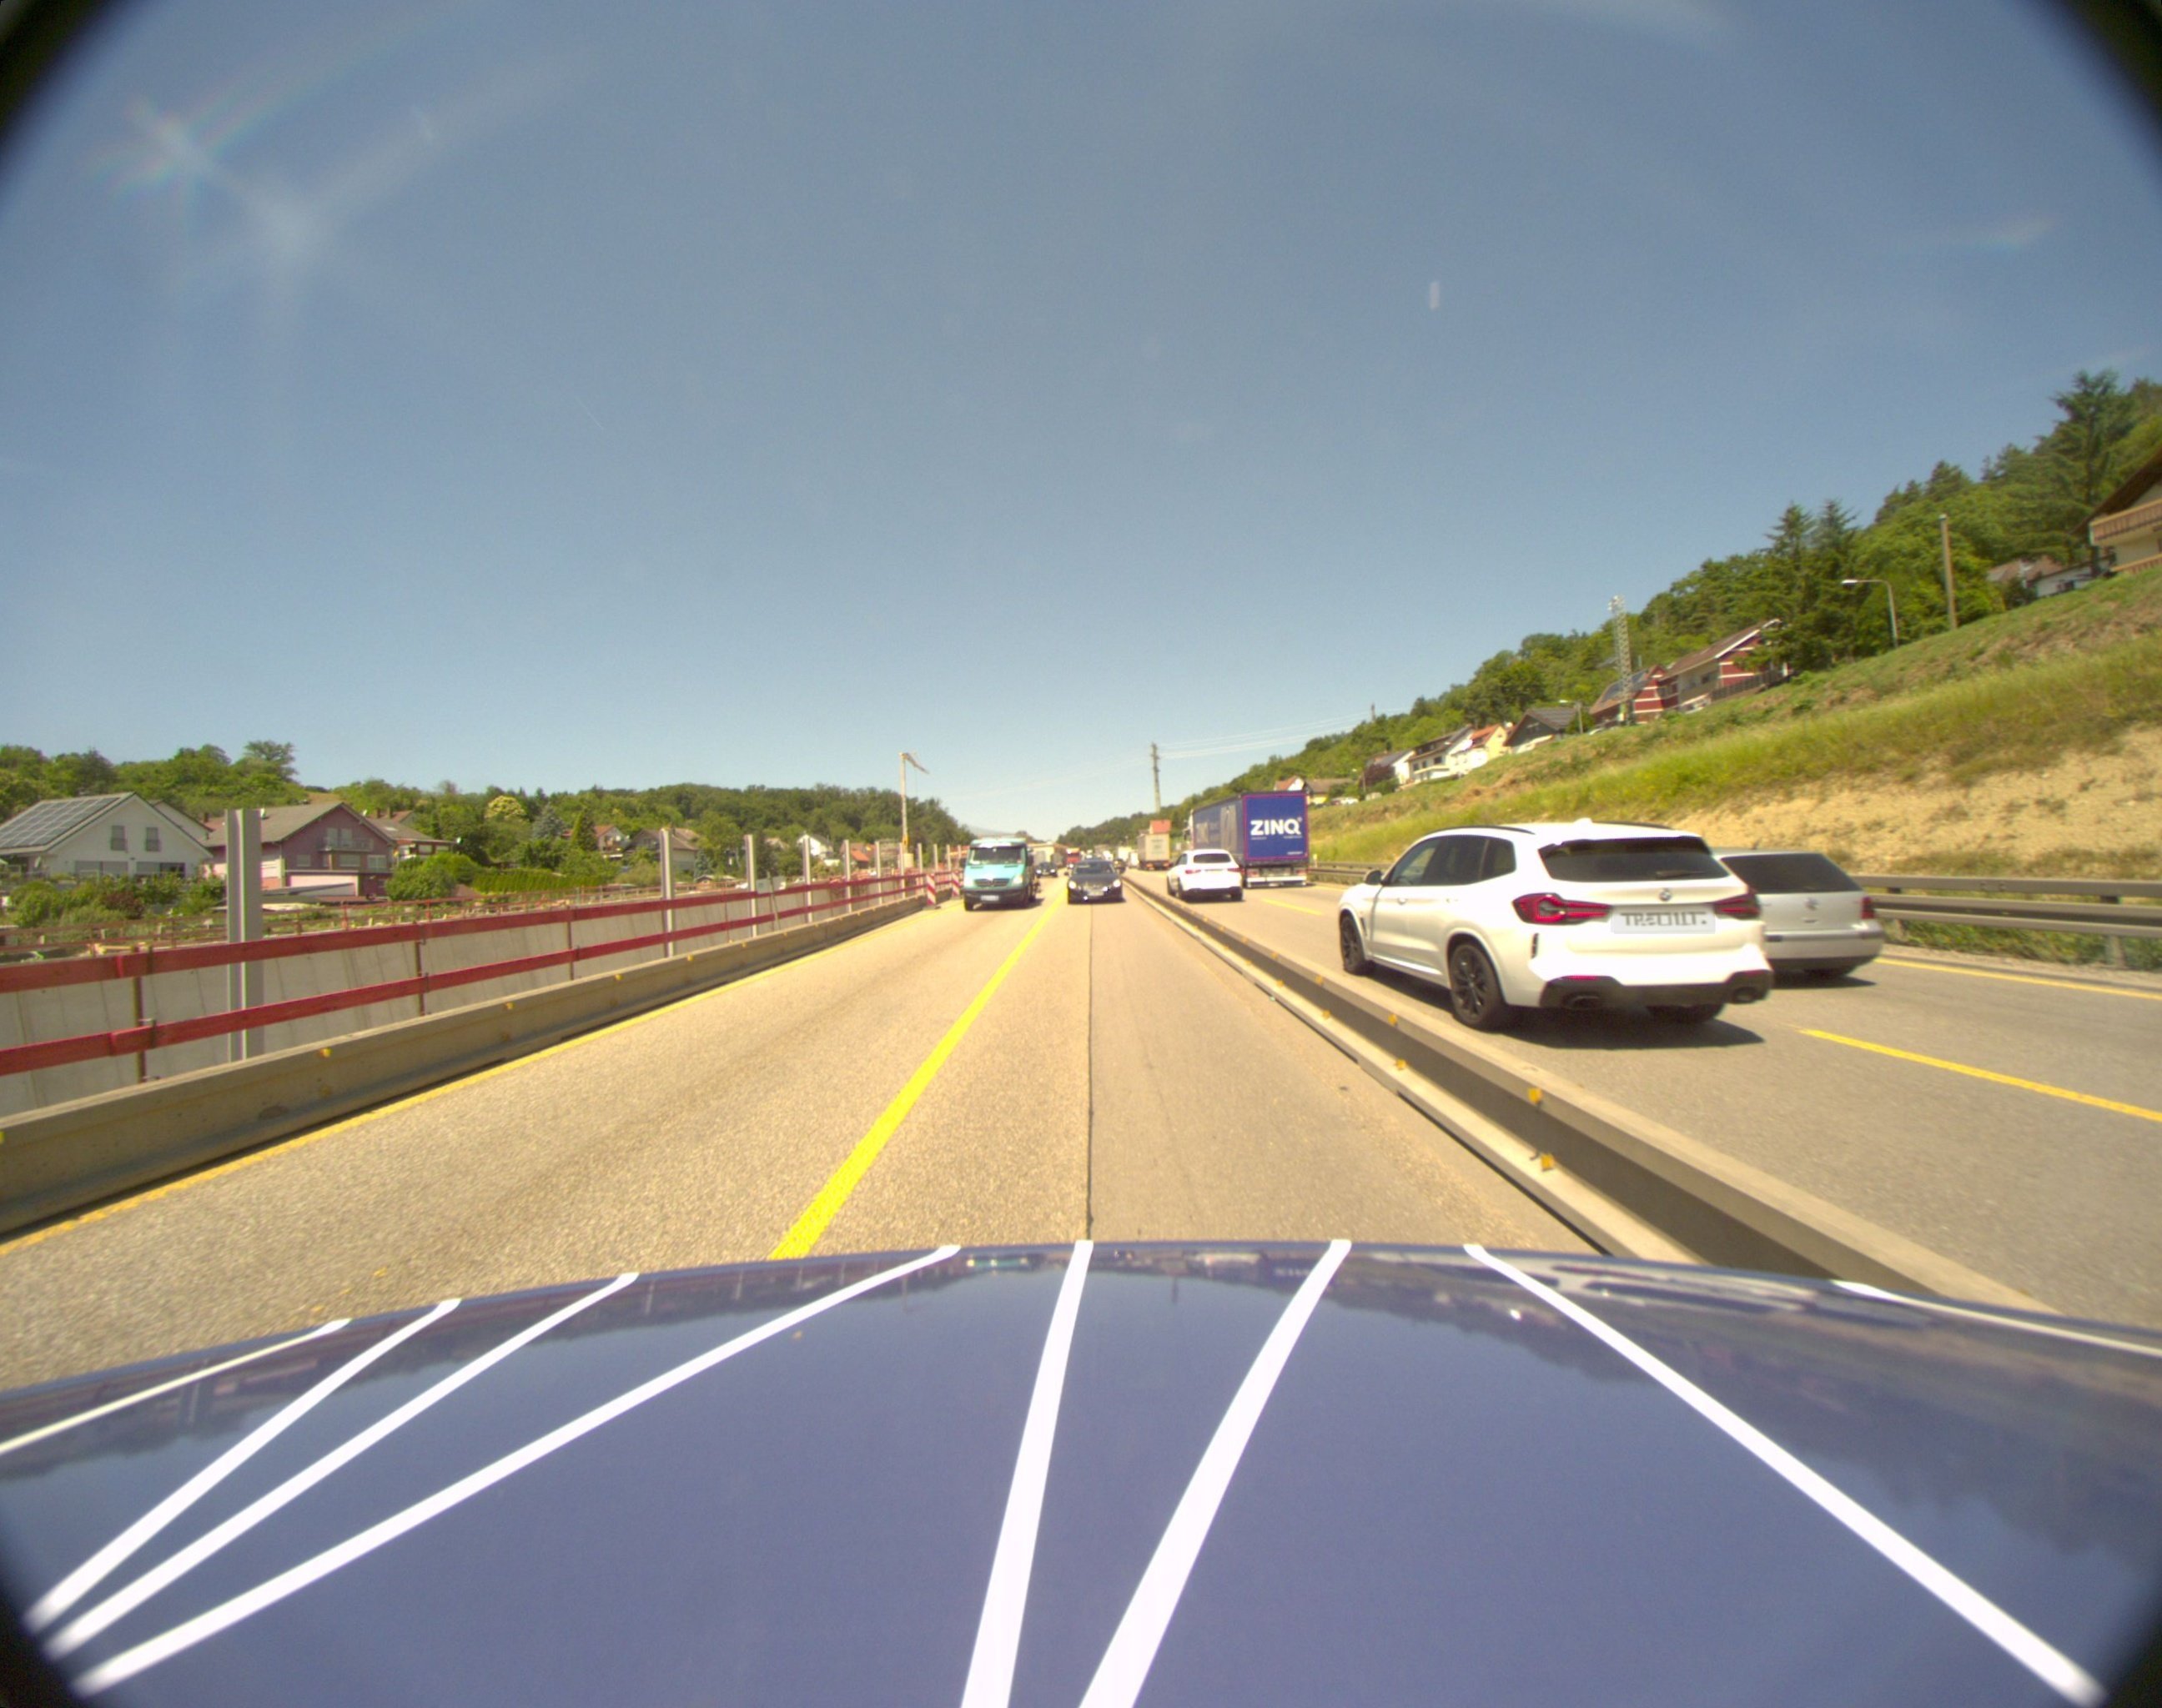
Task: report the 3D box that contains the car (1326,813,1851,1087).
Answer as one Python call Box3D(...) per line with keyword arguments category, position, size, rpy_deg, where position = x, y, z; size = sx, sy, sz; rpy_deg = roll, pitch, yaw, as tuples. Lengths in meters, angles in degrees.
Box3D(category="car", position=(4.033, 0.619, 7.211), size=(1.896, 1.698, 4.561), rpy_deg=(-2, 0, 0))

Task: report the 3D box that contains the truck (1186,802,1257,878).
Box3D(category="truck", position=(8.042, -0.780, 44.138), size=(3.247, 4.135, 4.247), rpy_deg=(-2, 0, 0))

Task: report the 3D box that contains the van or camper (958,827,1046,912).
Box3D(category="van or camper", position=(-2.544, 0.481, 26.588), size=(2.097, 2.458, 7.672), rpy_deg=(-2, 0, 1))

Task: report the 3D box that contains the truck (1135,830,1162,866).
Box3D(category="truck", position=(8.418, -0.701, 95.015), size=(2.781, 4.261, 4.676), rpy_deg=(-3, 0, 0))

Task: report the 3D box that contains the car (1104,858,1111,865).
Box3D(category="car", position=(6.779, 1.881, 193.732), size=(1.758, 1.499, 4.000), rpy_deg=(-4, 0, 1))

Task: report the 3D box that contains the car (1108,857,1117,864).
Box3D(category="car", position=(7.161, 1.450, 172.957), size=(1.772, 1.355, 4.411), rpy_deg=(-2, 0, 0))

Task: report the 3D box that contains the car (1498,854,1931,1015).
Box3D(category="car", position=(6.807, 0.731, 8.839), size=(1.706, 1.370, 3.966), rpy_deg=(-2, 0, 0))

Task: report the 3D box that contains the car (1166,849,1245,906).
Box3D(category="car", position=(3.928, 0.686, 24.632), size=(1.817, 1.628, 4.362), rpy_deg=(-2, 0, 0))

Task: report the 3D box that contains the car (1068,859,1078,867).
Box3D(category="car", position=(-1.425, 1.689, 138.662), size=(1.679, 1.346, 3.487), rpy_deg=(-4, 0, 1))

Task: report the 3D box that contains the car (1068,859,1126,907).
Box3D(category="car", position=(0.523, 0.917, 25.379), size=(1.746, 1.420, 4.000), rpy_deg=(-2, 0, 1))

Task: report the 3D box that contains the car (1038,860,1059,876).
Box3D(category="car", position=(-2.849, 1.231, 67.044), size=(1.611, 1.324, 3.496), rpy_deg=(-1, 0, 1))

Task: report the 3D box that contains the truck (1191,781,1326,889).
Box3D(category="truck", position=(7.983, -0.762, 36.774), size=(3.251, 4.135, 13.977), rpy_deg=(-2, 0, 0))

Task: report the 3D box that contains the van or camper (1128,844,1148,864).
Box3D(category="van or camper", position=(8.667, 0.033, 115.921), size=(2.340, 2.761, 7.517), rpy_deg=(-2, 0, 0))

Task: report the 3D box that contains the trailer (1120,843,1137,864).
Box3D(category="trailer", position=(9.897, -0.076, 159.738), size=(2.864, 4.100, 13.438), rpy_deg=(-2, 0, 0))

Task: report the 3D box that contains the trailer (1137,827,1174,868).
Box3D(category="trailer", position=(8.381, -0.695, 87.517), size=(2.817, 4.261, 14.034), rpy_deg=(-3, 0, 0))

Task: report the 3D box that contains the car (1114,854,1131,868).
Box3D(category="car", position=(5.159, 0.879, 95.256), size=(1.853, 1.577, 4.174), rpy_deg=(-3, 0, 0))

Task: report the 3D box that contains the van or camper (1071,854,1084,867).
Box3D(category="van or camper", position=(-0.728, 1.260, 157.477), size=(2.321, 2.513, 4.528), rpy_deg=(-4, 0, 1))
